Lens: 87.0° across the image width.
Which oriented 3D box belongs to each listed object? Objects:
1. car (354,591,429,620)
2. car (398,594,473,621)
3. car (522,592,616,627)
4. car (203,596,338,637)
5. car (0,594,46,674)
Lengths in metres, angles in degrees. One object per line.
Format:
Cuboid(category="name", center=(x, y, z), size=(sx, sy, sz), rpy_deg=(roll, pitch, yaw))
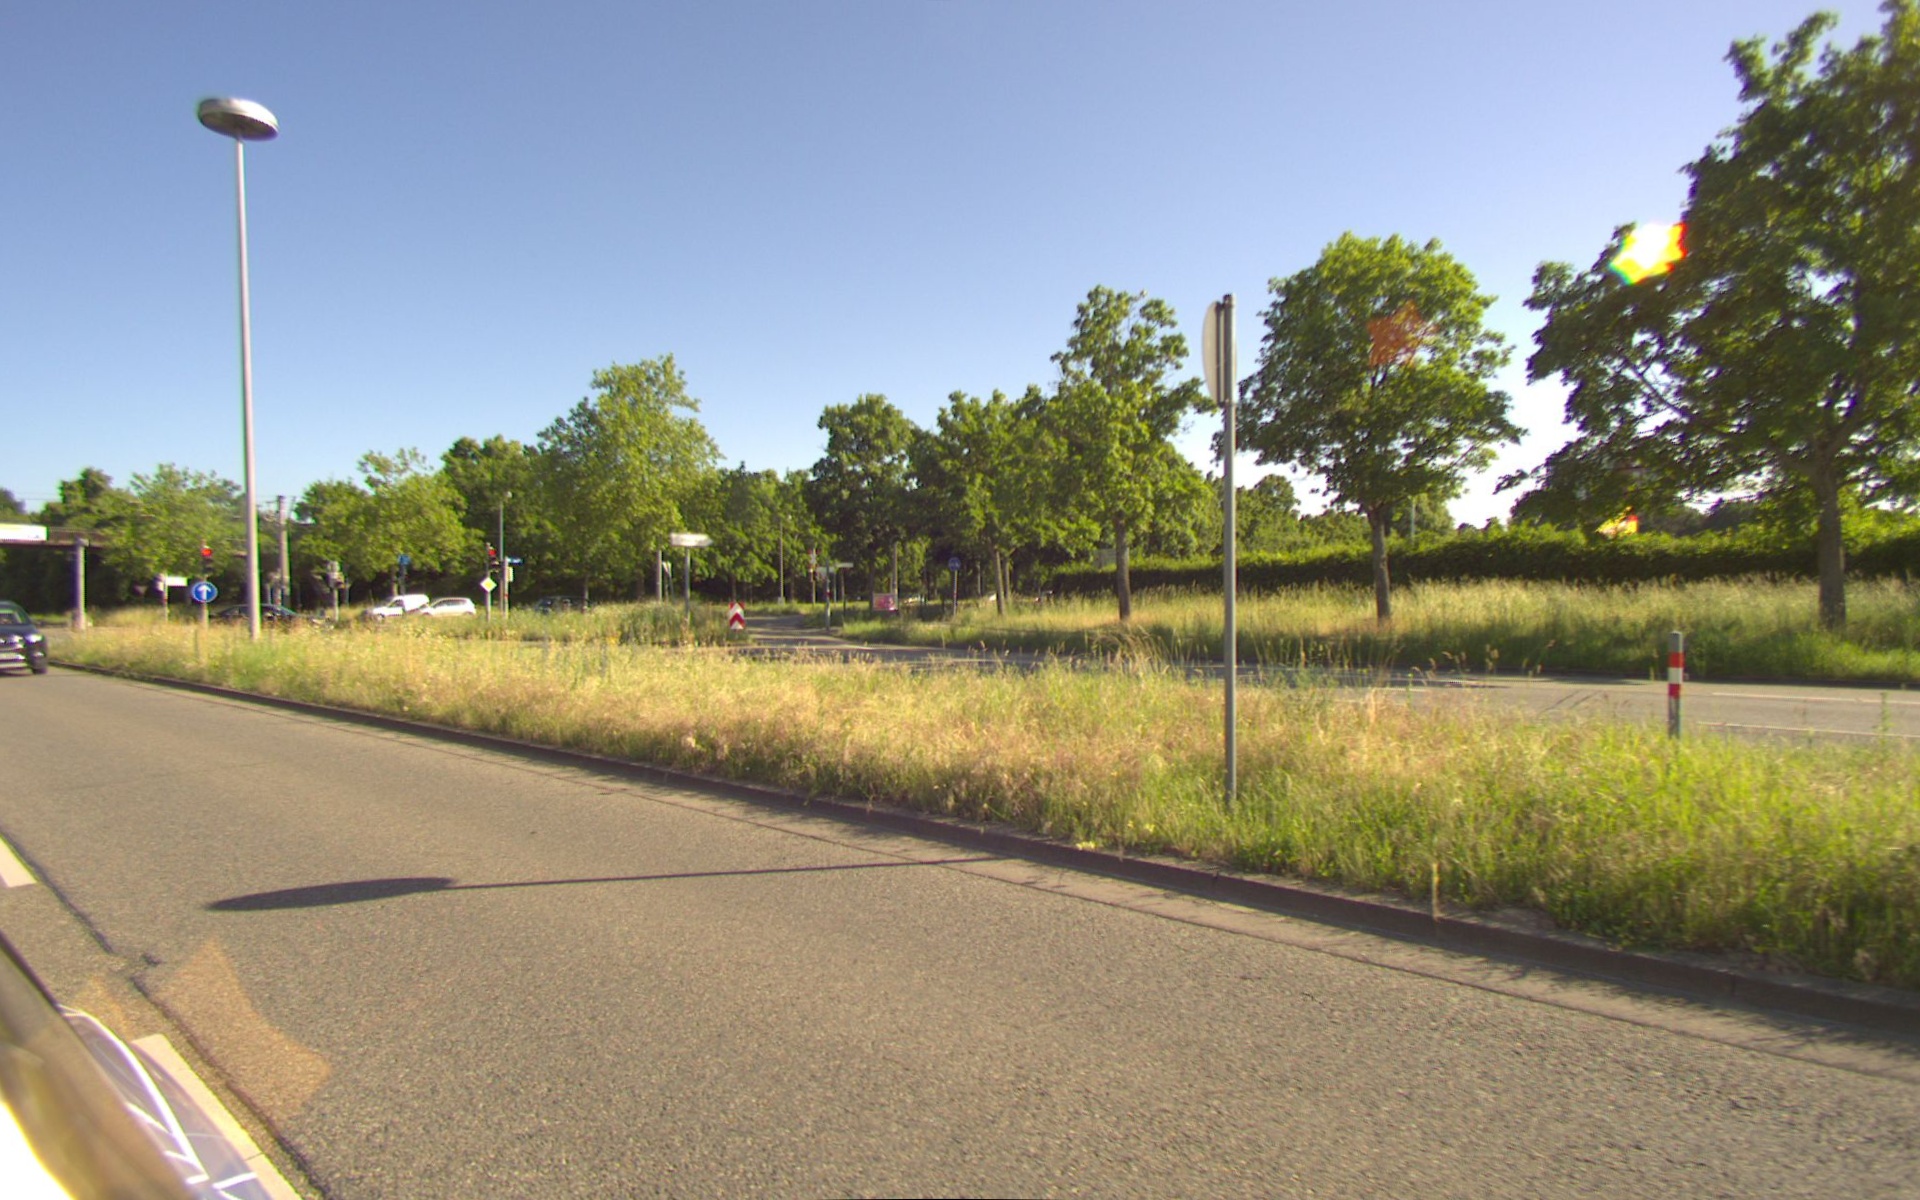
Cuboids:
Cuboid(category="car", center=(-37.073, 0.357, 66.075), size=(1.772, 1.768, 3.957), rpy_deg=(-1, 1, 32))
Cuboid(category="car", center=(-33.689, 0.473, 65.135), size=(1.847, 1.572, 3.883), rpy_deg=(-1, 1, 32))
Cuboid(category="car", center=(-20.348, 0.451, 52.808), size=(1.841, 1.582, 4.341), rpy_deg=(-2, 1, 31))
Cuboid(category="car", center=(-29.544, 0.681, 43.532), size=(4.452, 1.497, 1.785), rpy_deg=(-2, 0, -19))
Cuboid(category="car", center=(-21.844, 0.744, 22.550), size=(3.854, 1.675, 1.692), rpy_deg=(0, 2, 41))
